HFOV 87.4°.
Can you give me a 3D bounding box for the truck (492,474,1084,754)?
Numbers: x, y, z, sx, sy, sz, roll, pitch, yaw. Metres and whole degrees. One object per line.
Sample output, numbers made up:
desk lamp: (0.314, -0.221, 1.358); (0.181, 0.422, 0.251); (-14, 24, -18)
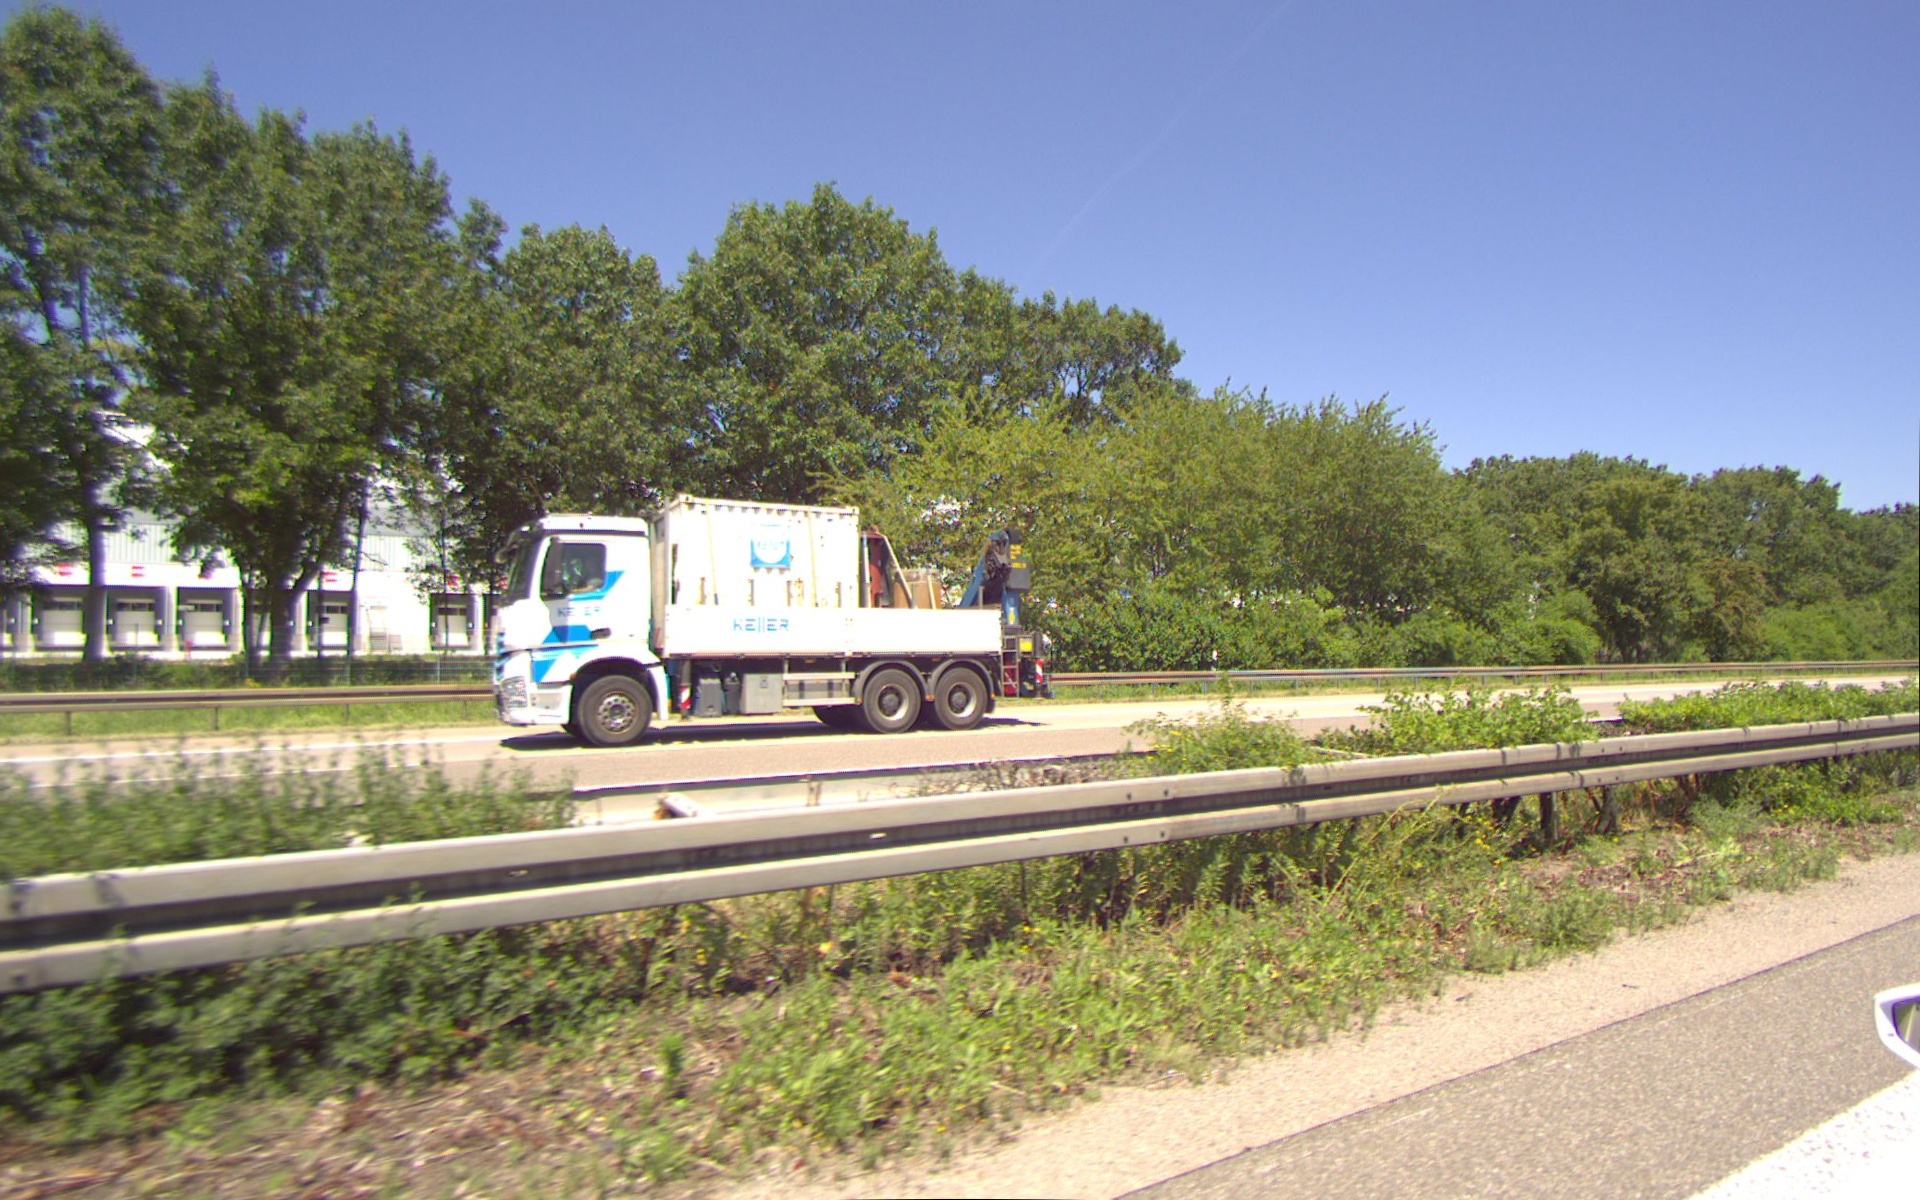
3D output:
truck: (-2.554, 0.332, 17.264); (9.749, 3.811, 2.593); (1, -3, -30)
